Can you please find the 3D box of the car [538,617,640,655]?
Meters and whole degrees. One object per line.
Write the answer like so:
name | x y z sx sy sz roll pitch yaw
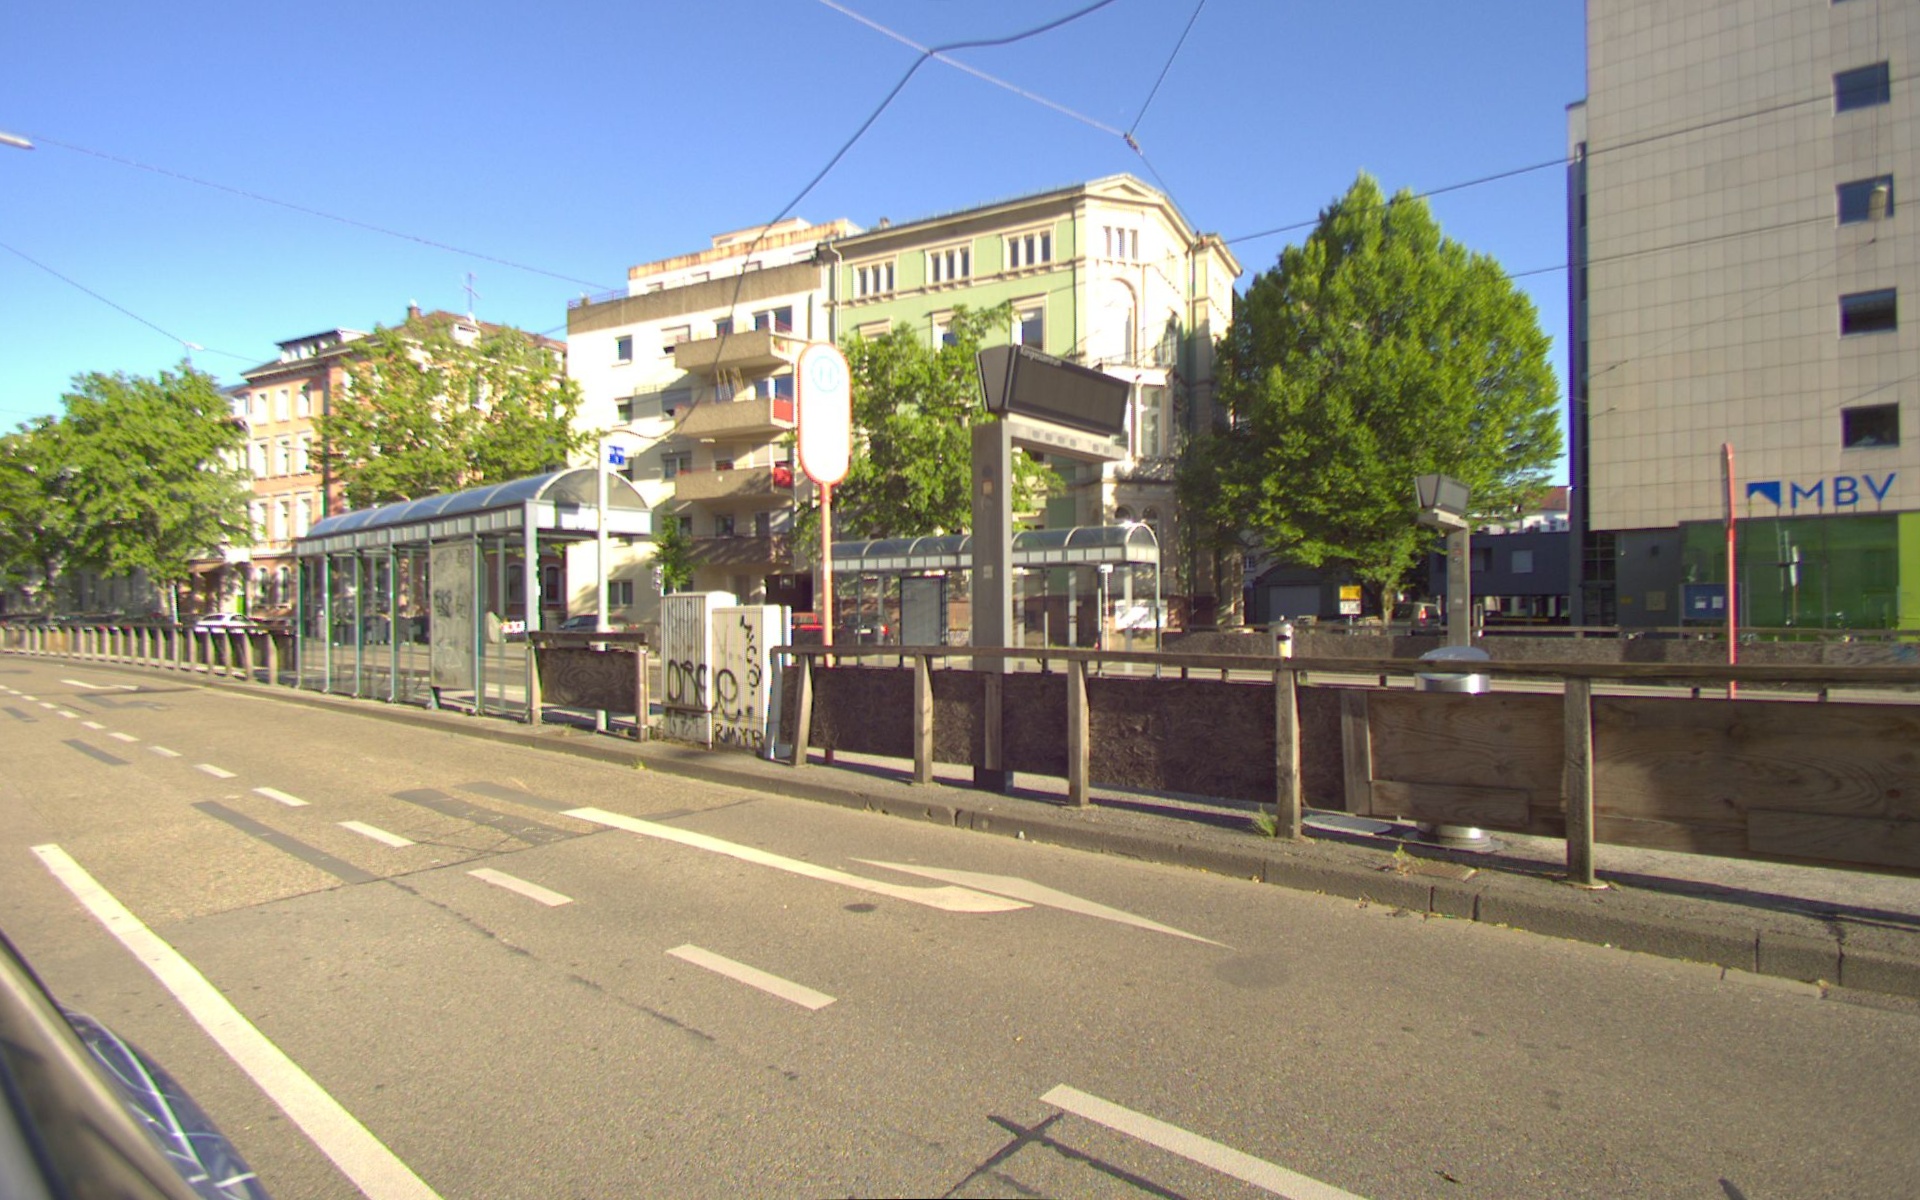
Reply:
car | -14.107 1.365 38.497 3.498 1.406 1.602 -1 -2 22

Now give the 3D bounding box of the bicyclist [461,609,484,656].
bicyclist | -18.804 1.274 39.073 0.770 1.774 0.529 -4 -4 41

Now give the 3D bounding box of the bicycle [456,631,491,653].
bicycle | -18.803 1.637 39.069 1.852 0.793 0.529 -4 -4 41

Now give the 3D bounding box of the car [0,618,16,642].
car | -68.192 2.087 70.241 2.001 1.604 3.812 -1 -2 44

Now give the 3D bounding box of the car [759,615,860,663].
car | -5.107 1.324 34.789 1.763 1.547 3.763 -1 -2 23

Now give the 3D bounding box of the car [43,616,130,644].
car | -54.396 1.842 63.079 2.001 1.697 3.942 -1 -2 44

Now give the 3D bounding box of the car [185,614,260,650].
car | -39.619 1.676 54.489 1.966 1.736 4.012 0 1 -15

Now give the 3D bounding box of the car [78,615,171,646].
car | -48.073 1.741 58.275 2.001 1.697 3.942 -1 -2 44

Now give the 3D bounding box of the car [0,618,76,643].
car | -59.704 1.963 65.393 3.811 1.604 2.001 1 -2 -45

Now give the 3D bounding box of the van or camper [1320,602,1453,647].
van or camper | 15.400 0.852 36.636 3.998 1.417 1.943 2 0 41

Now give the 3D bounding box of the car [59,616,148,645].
car | -51.389 1.800 60.749 2.001 1.697 3.942 -1 -2 44
